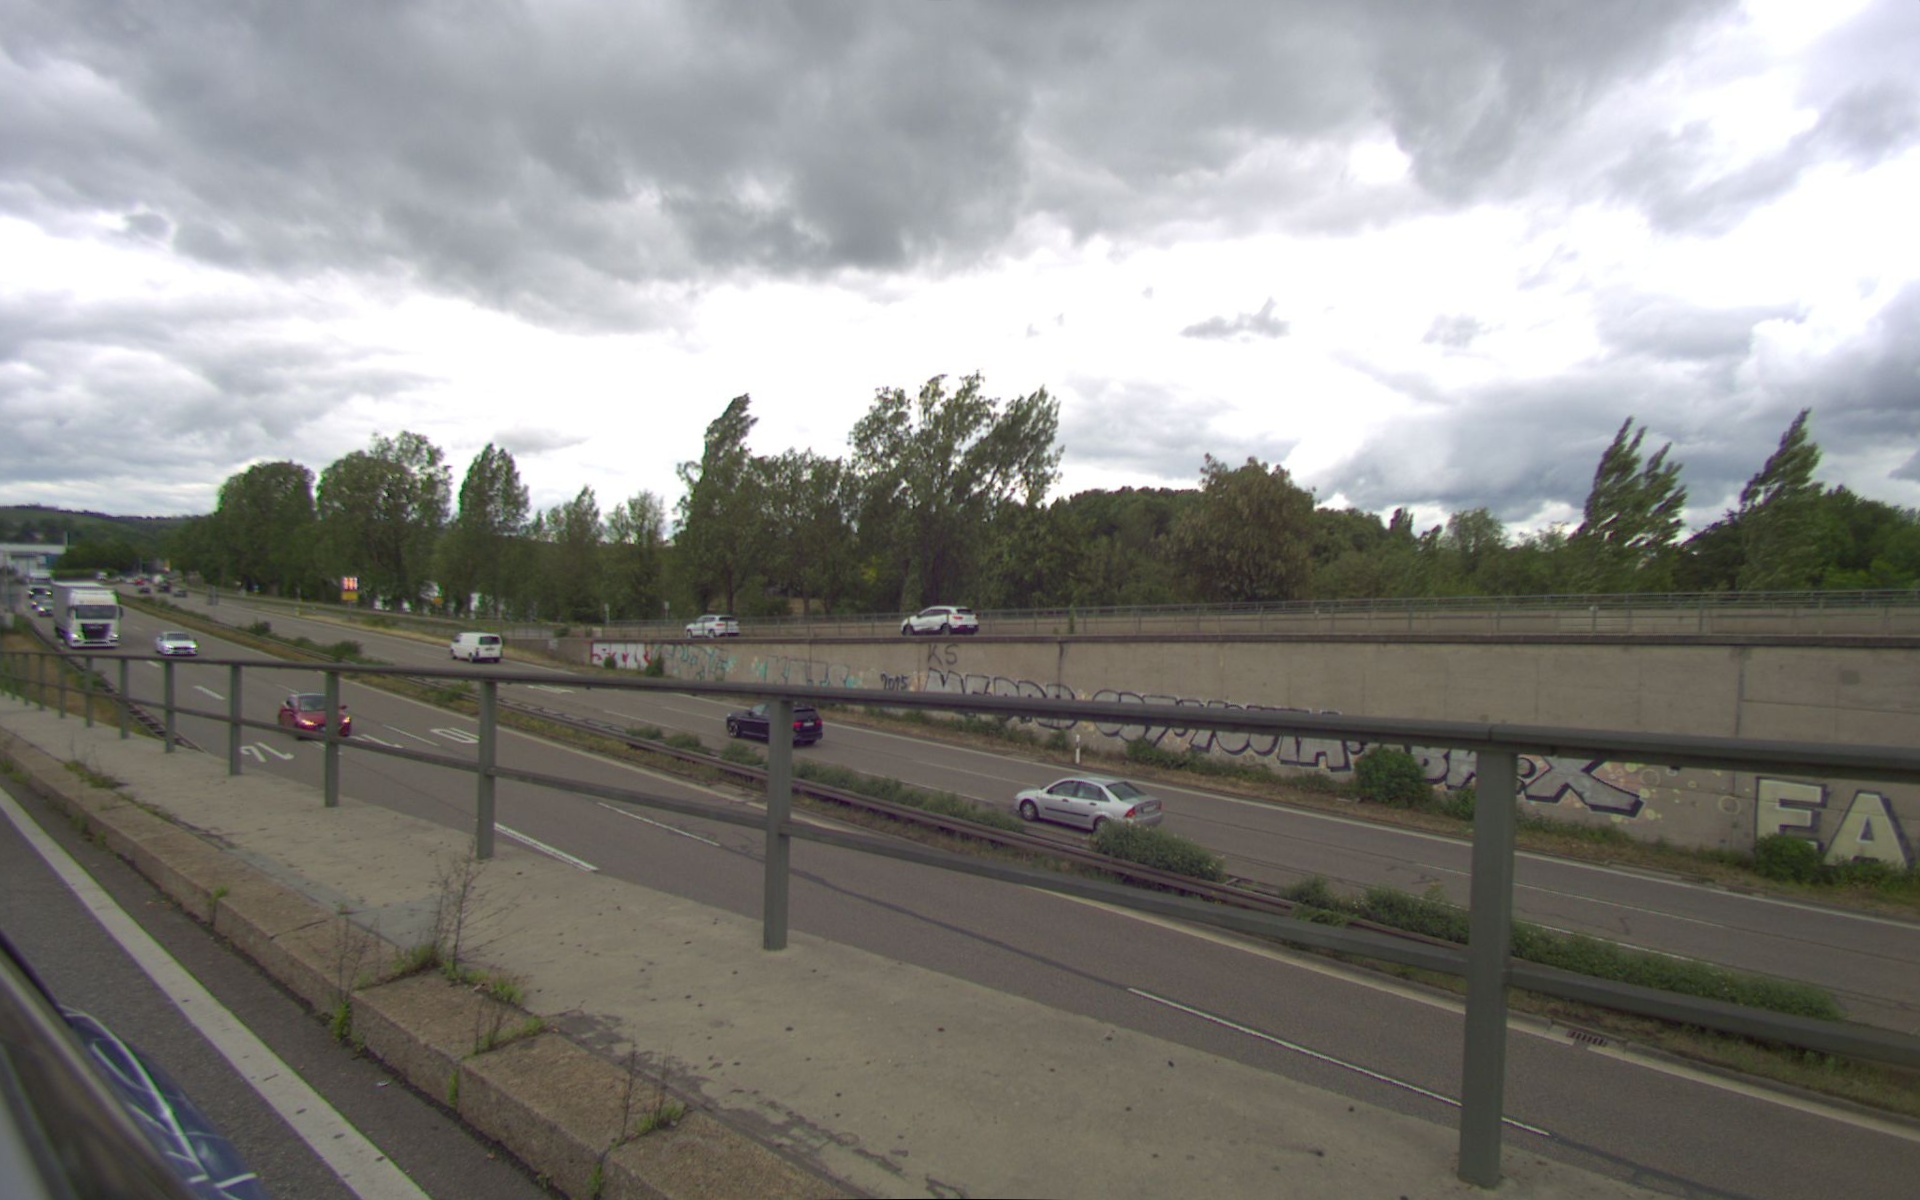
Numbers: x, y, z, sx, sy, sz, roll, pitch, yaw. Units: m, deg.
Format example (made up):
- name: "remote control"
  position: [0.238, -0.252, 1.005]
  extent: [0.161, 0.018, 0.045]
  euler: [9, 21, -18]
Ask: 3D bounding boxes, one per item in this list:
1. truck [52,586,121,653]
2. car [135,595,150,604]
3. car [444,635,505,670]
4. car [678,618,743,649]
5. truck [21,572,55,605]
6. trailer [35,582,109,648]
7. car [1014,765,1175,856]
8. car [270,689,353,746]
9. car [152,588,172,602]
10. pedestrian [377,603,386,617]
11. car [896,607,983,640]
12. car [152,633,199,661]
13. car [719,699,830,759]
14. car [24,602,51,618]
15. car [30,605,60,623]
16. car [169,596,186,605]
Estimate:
- name: "truck"
  position: [-59.950, 1.259, 69.393]
  extent: [6.699, 4.283, 2.721]
  euler: [2, 0, 43]
- name: "car"
  position: [-155.612, -0.182, 192.567]
  extent: [3.859, 1.512, 1.645]
  euler: [3, 0, 43]
- name: "car"
  position: [-33.634, 3.594, 70.019]
  extent: [5.177, 2.082, 1.972]
  euler: [2, 1, 42]
- name: "car"
  position: [-15.826, 2.133, 64.144]
  extent: [4.211, 1.884, 1.973]
  euler: [-2, -2, 41]
- name: "truck"
  position: [-135.681, -1.737, 148.882]
  extent: [11.131, 4.559, 3.136]
  euler: [2, 1, 45]
- name: "trailer"
  position: [-65.806, 0.995, 74.841]
  extent: [13.152, 4.283, 2.721]
  euler: [2, 0, 43]
- name: "car"
  position: [3.609, 5.658, 27.658]
  extent: [4.085, 1.539, 1.710]
  euler: [2, 1, 41]
- name: "car"
  position: [-24.369, 4.339, 37.956]
  extent: [4.167, 1.451, 1.732]
  euler: [4, 2, 44]
- name: "car"
  position: [-161.722, -1.046, 205.098]
  extent: [6.114, 2.566, 2.220]
  euler: [2, 1, 43]
- name: "pedestrian"
  position: [-75.575, 1.269, 132.198]
  extent: [1.078, 1.718, 0.820]
  euler: [2, 2, 43]
- name: "car"
  position: [-1.059, 1.175, 50.664]
  extent: [4.346, 1.588, 1.812]
  euler: [-2, -2, 43]
- name: "car"
  position: [-51.765, 3.070, 66.728]
  extent: [4.279, 1.429, 1.894]
  euler: [3, 2, 44]
- name: "car"
  position: [-7.485, 5.096, 40.532]
  extent: [4.550, 1.751, 1.896]
  euler: [2, 0, 40]
- name: "car"
  position: [-105.021, 1.100, 115.238]
  extent: [4.166, 1.619, 1.834]
  euler: [2, -2, 43]
- name: "car"
  position: [-90.878, 1.414, 100.476]
  extent: [4.166, 1.619, 1.834]
  euler: [2, 1, 43]
- name: "car"
  position: [-138.167, 0.108, 178.724]
  extent: [4.111, 1.386, 1.692]
  euler: [3, 0, 43]
